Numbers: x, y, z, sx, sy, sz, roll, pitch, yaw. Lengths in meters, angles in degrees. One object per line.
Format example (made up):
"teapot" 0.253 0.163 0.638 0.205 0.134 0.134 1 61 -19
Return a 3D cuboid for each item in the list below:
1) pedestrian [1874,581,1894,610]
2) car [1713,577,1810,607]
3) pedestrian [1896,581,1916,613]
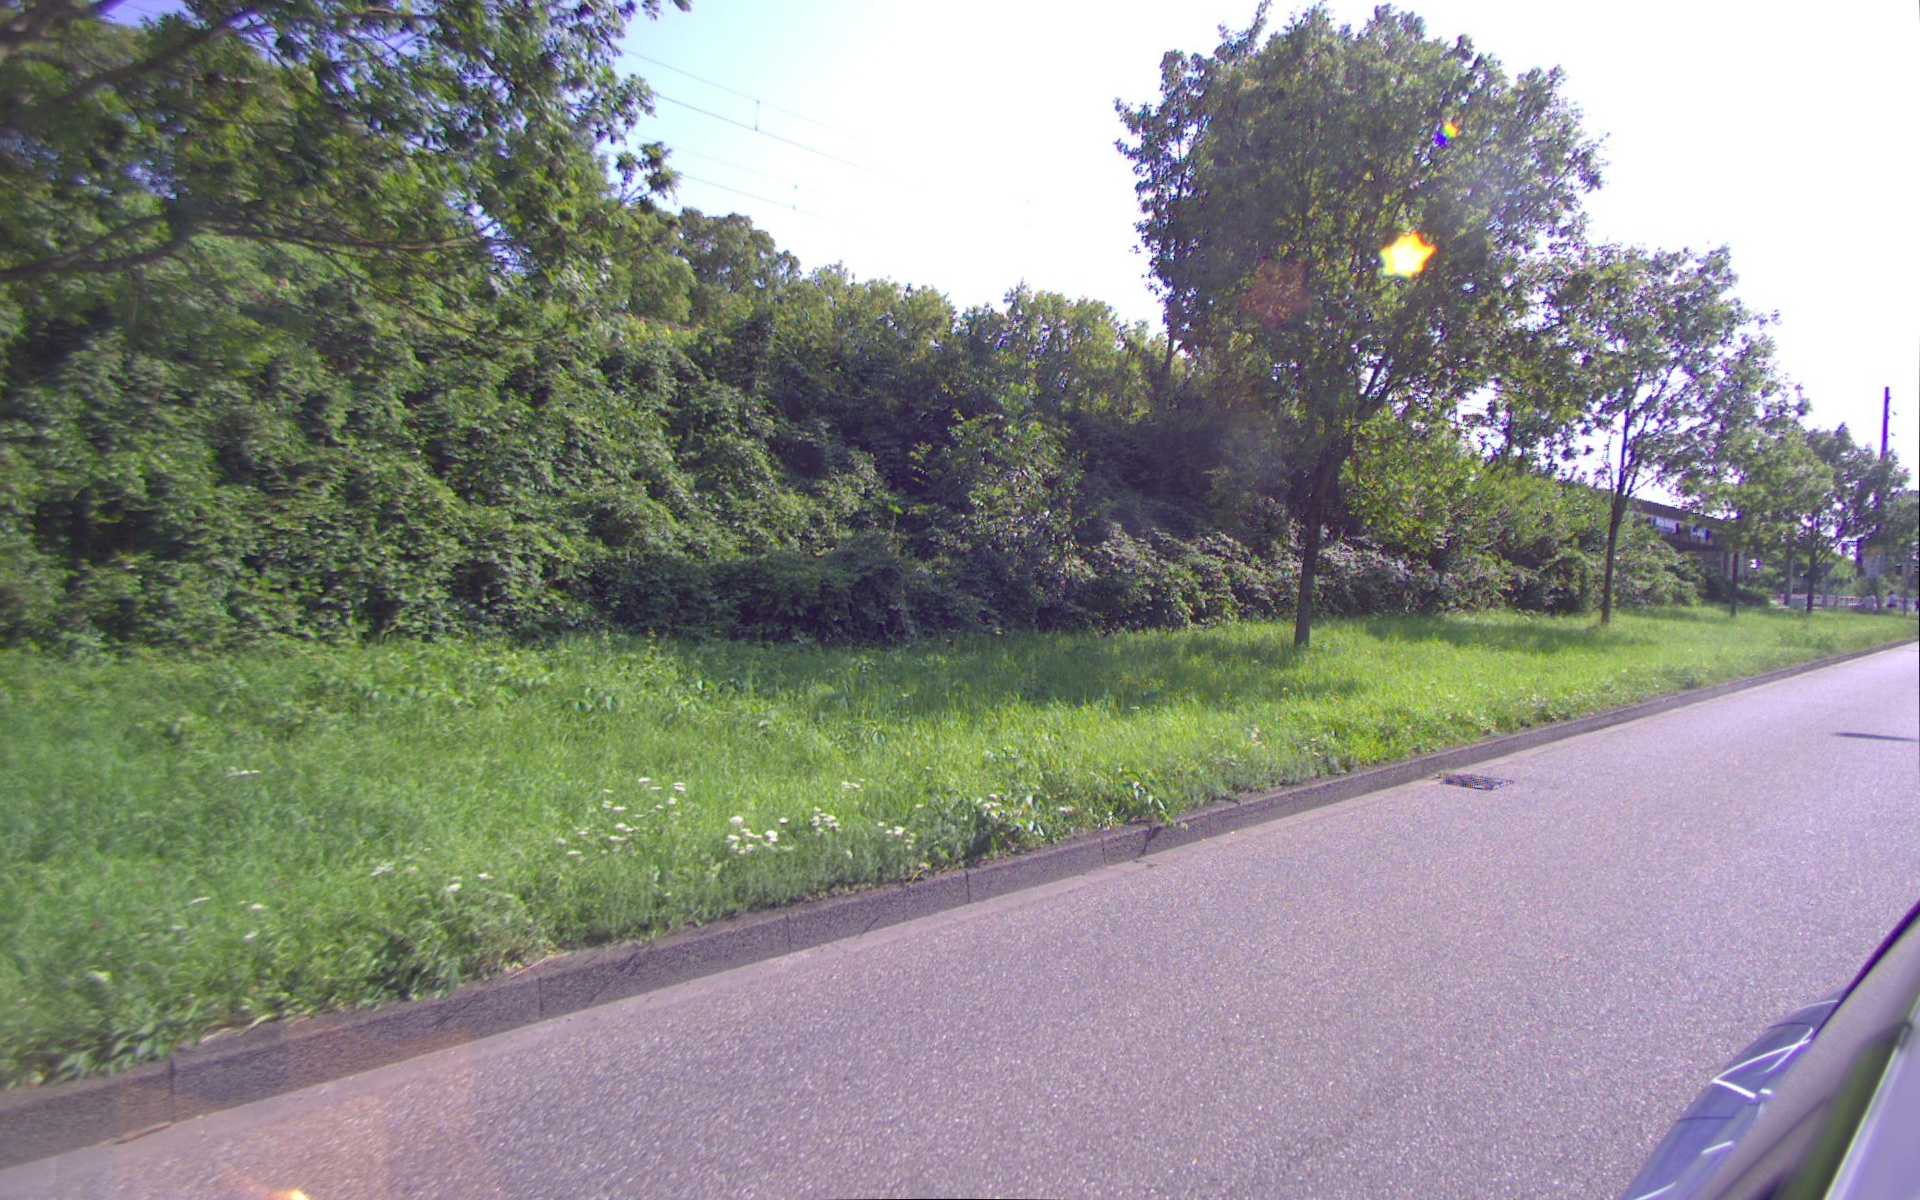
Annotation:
"pedestrian" 50.417 -0.240 55.236 0.563 1.586 0.535 0 1 8
"car" 46.881 -0.474 59.317 1.831 1.552 4.204 1 2 -13
"pedestrian" 50.929 -0.187 54.472 0.482 1.703 0.572 1 1 -9
